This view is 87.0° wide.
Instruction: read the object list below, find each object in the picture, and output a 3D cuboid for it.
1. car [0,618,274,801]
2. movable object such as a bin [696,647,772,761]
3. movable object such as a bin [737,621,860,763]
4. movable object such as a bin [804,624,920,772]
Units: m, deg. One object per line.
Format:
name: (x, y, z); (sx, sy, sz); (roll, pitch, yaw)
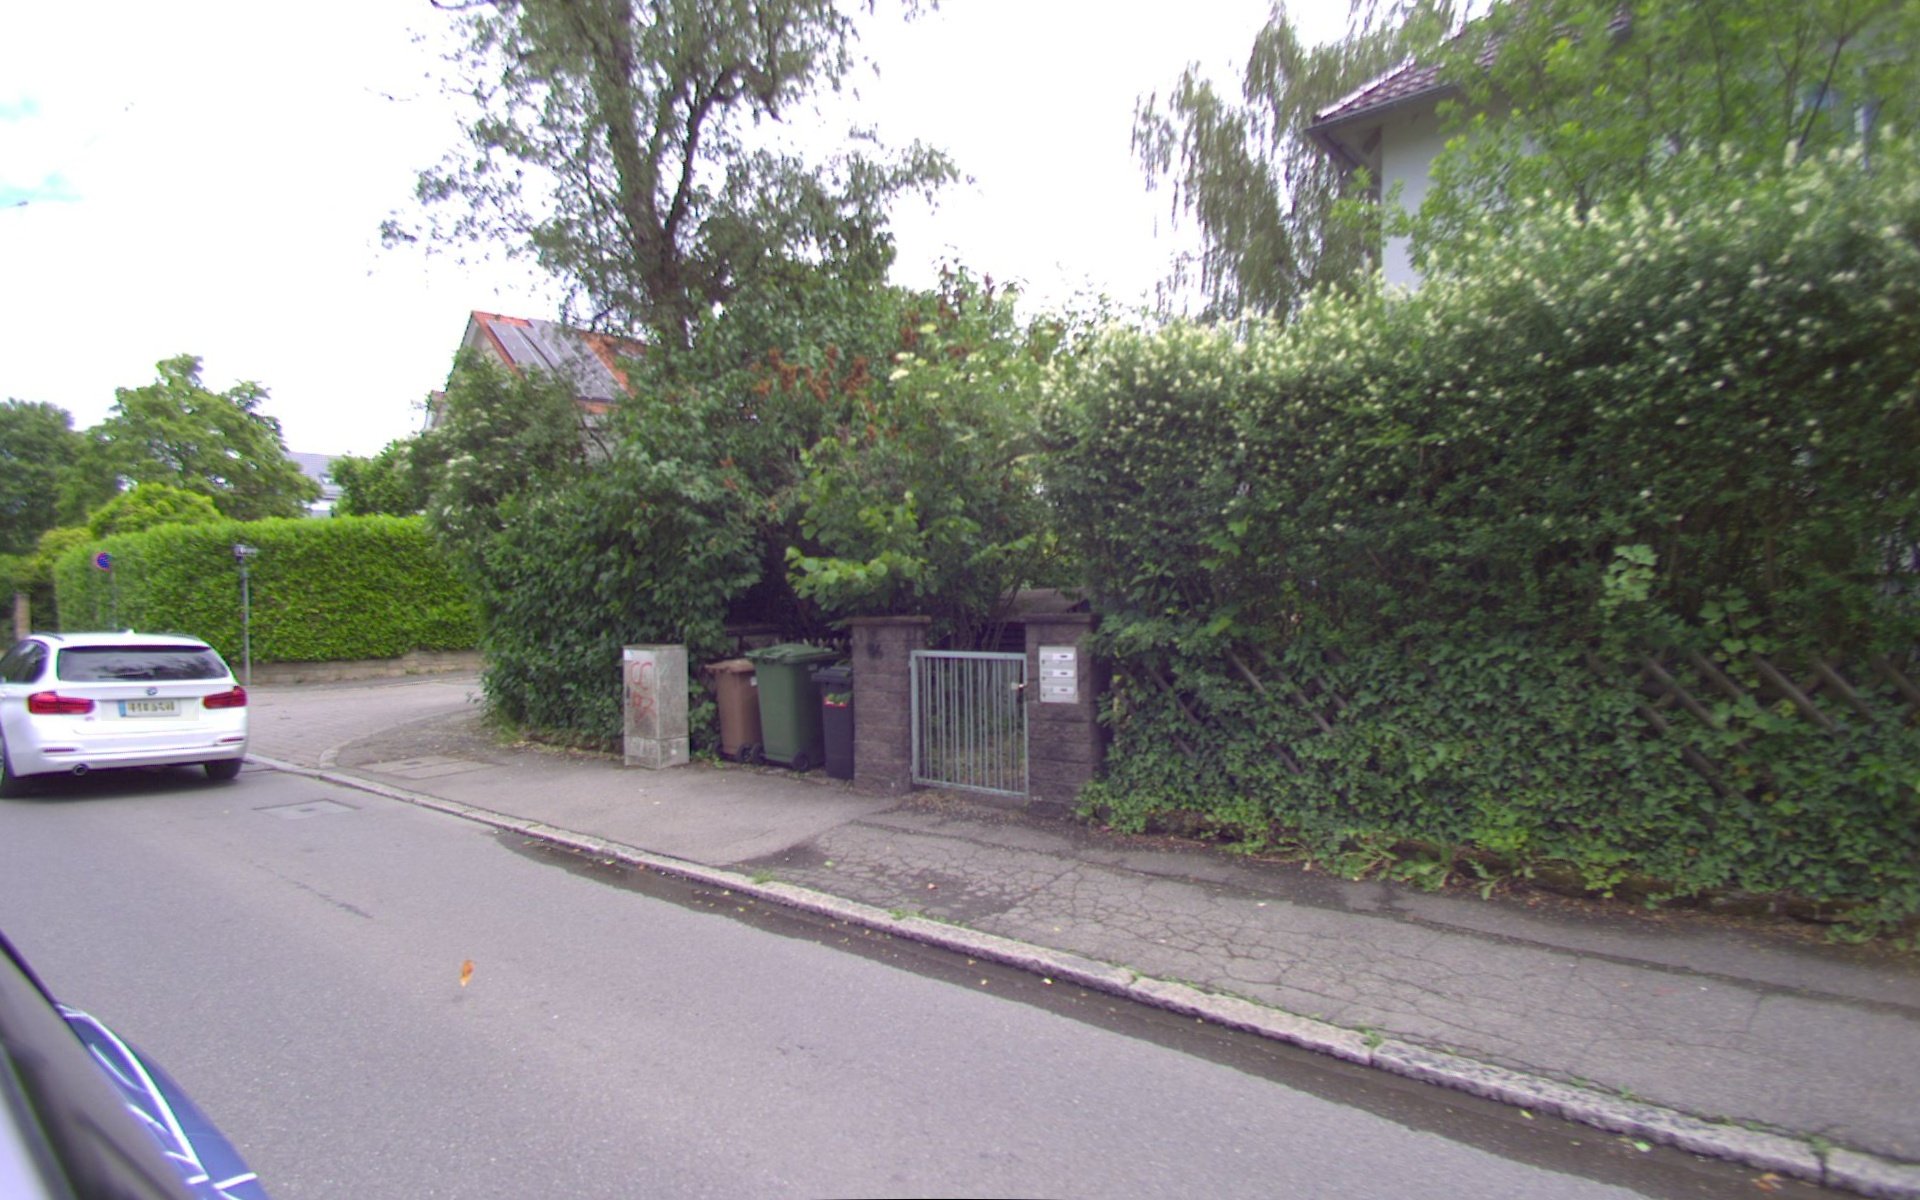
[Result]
car: (-8.592, 0.928, 10.081); (4.297, 1.442, 1.787); (-1, -3, 40)
movable object such as a bin: (-2.048, 0.924, 9.175); (0.511, 0.958, 0.375); (-1, 3, 37)
movable object such as a bin: (-1.424, 0.781, 8.944); (0.721, 1.134, 0.721); (-1, 3, 37)
movable object such as a bin: (-0.813, 0.793, 8.511); (0.584, 1.125, 0.721); (-1, 3, 37)
